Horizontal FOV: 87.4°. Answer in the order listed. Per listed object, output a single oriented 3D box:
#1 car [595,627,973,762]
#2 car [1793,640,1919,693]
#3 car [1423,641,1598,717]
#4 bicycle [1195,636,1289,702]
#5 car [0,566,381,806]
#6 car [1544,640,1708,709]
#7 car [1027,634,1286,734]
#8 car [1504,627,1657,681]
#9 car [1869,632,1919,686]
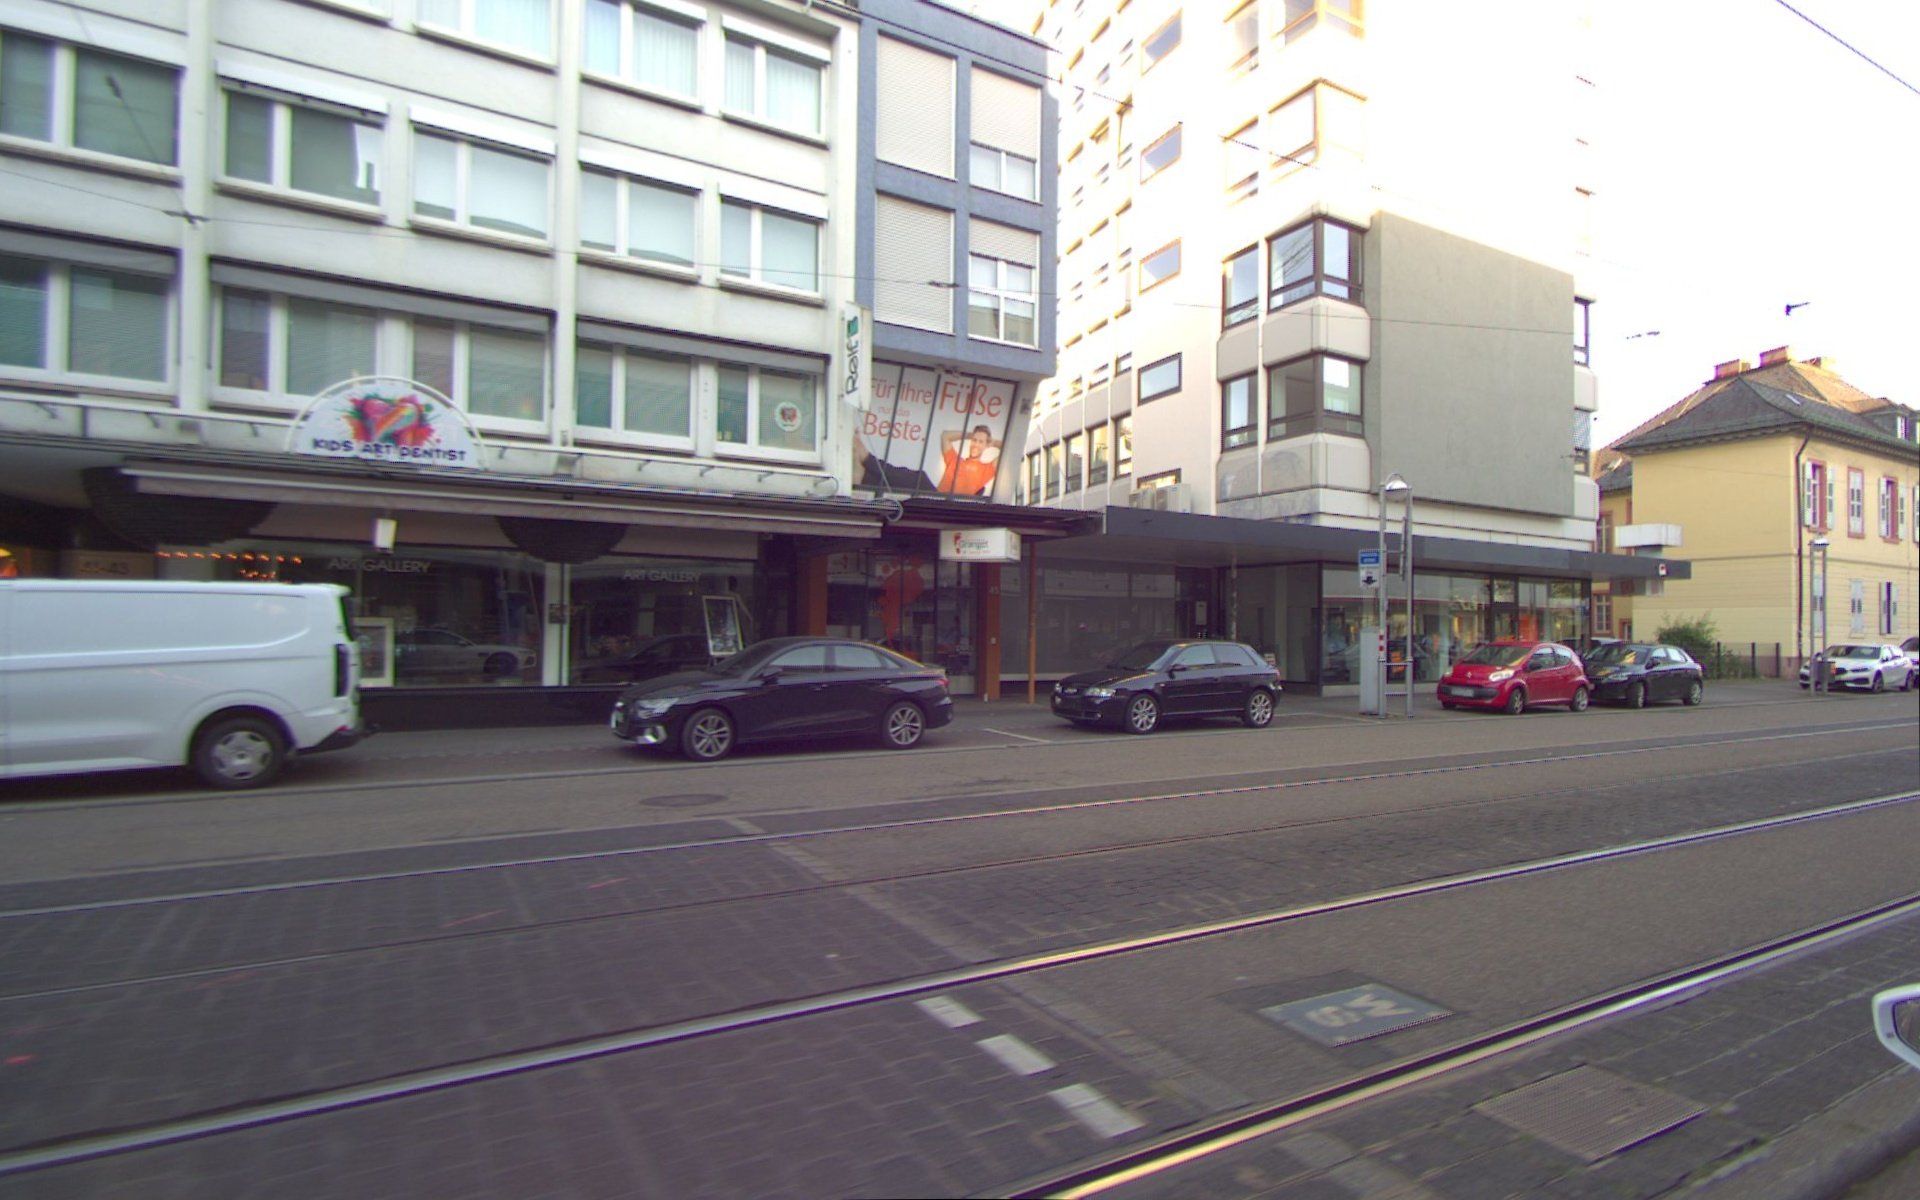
[{"bbox_3d":[-2.252,1.148,13.196,4.518,1.445,1.863,2,0,-30],"label":"car"},{"bbox_3d":[27.677,2.016,30.998,4.234,1.472,1.712,1,0,-31],"label":"car"},{"bbox_3d":[11.685,1.618,21.290,3.550,1.453,1.683,1,-1,-31],"label":"car"},{"bbox_3d":[6.423,1.542,22.985,0.865,1.358,2.037,2,0,-29],"label":"bicycle"},{"bbox_3d":[-8.440,0.729,9.518,5.042,2.040,1.954,2,0,-32],"label":"car"},{"bbox_3d":[15.797,1.706,23.785,3.919,1.444,1.683,1,0,-31],"label":"car"},{"bbox_3d":[3.284,1.311,16.615,4.042,1.480,1.782,2,-2,-30],"label":"car"},{"bbox_3d":[20.904,1.786,33.977,1.893,1.573,3.965,2,0,-32],"label":"car"},{"bbox_3d":[32.778,1.970,33.928,4.709,1.683,1.876,2,0,-33],"label":"car"}]
